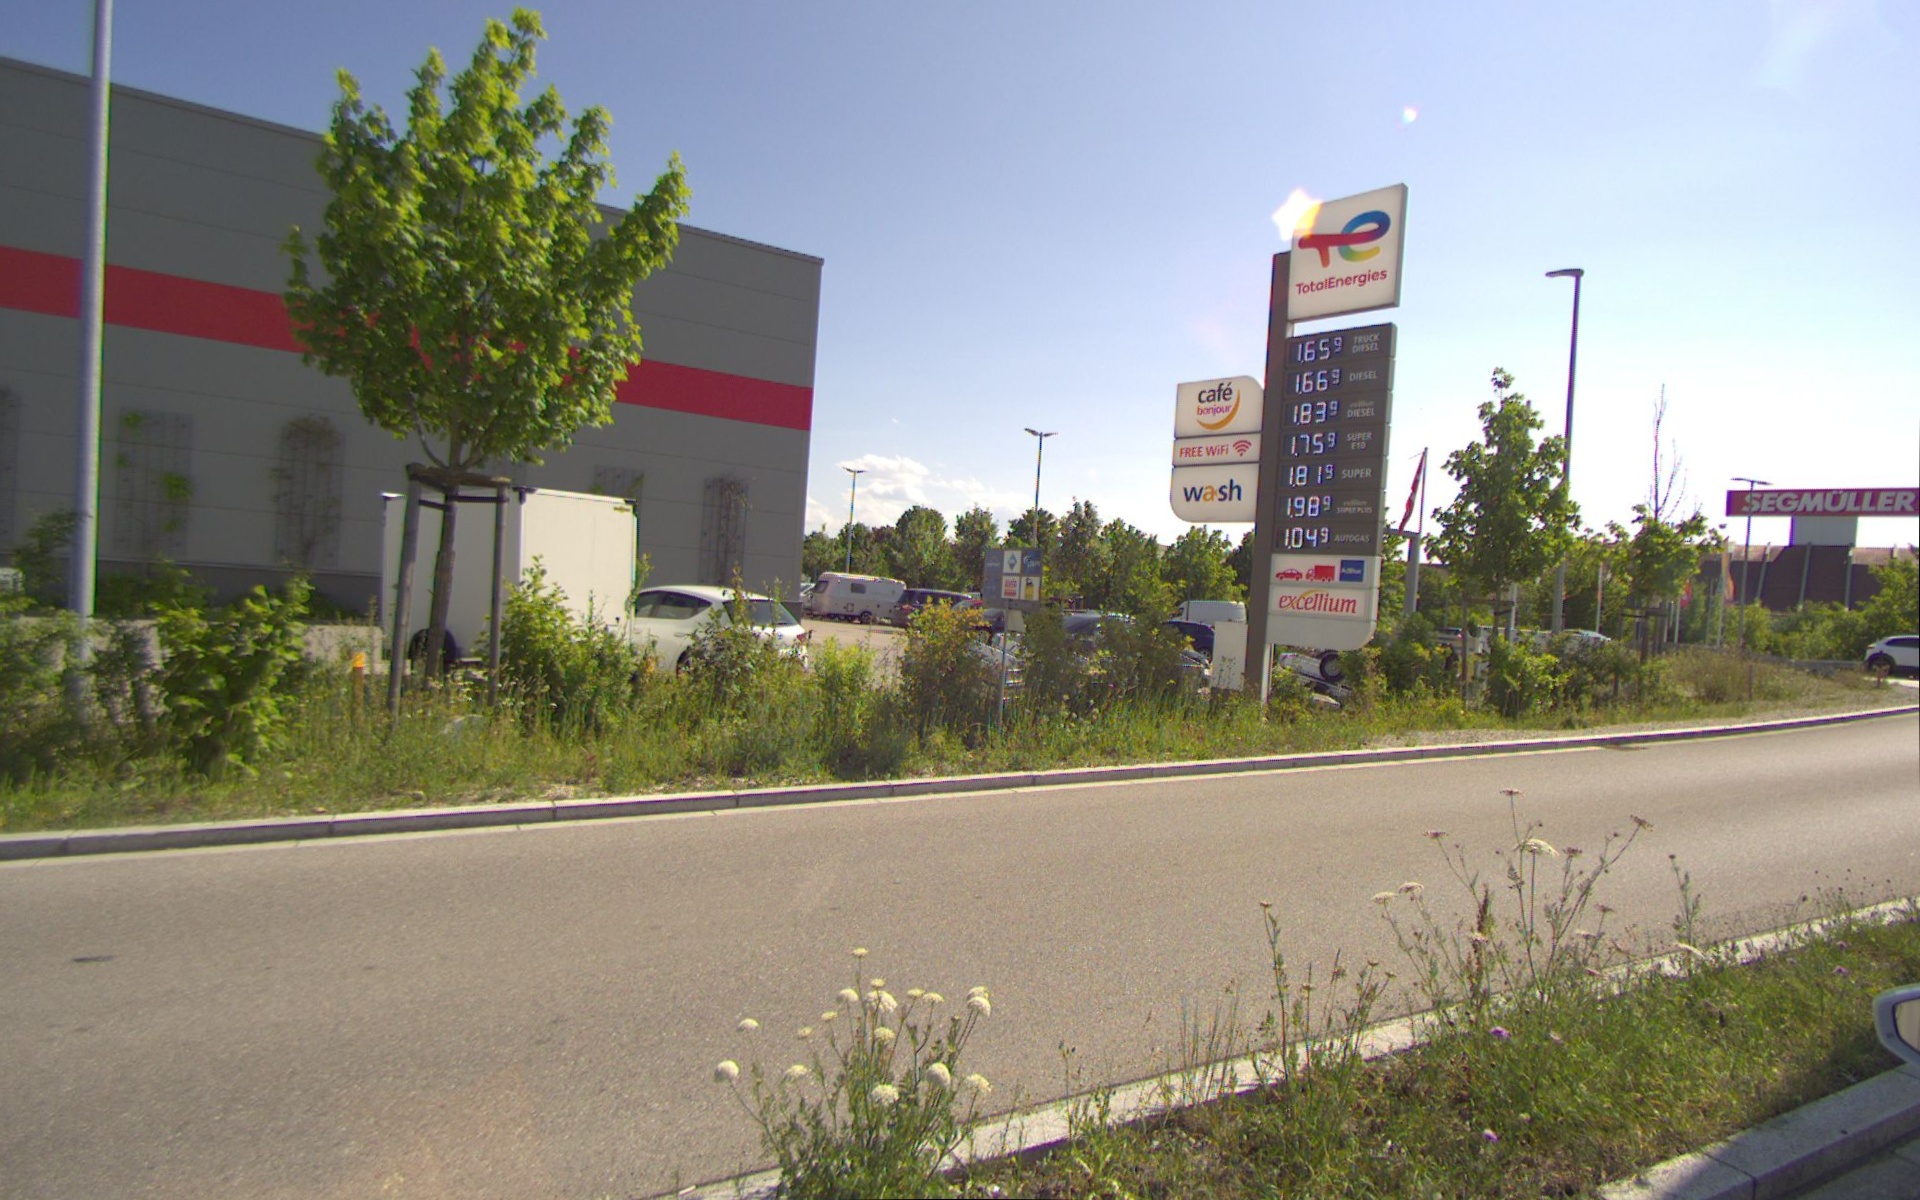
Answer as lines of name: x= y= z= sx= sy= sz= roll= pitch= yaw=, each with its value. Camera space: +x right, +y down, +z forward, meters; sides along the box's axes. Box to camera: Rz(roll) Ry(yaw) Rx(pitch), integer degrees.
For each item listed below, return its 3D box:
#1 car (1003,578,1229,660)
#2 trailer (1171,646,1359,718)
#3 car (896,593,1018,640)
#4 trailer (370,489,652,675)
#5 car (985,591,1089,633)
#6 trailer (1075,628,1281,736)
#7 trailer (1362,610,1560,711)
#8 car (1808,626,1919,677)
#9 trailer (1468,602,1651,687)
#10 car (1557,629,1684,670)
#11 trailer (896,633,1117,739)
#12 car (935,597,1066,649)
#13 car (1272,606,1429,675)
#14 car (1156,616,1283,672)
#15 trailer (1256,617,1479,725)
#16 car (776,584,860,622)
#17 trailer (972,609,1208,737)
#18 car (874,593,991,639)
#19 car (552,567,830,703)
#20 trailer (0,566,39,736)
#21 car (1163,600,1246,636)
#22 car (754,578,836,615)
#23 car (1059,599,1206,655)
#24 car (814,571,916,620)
car: x=3.303 y=0.399 z=21.171 sx=4.437 sy=1.503 sz=1.792 roll=2 pitch=2 yaw=-26
trailer: x=5.427 y=1.404 z=17.865 sx=2.788 sy=0.894 sz=1.862 roll=4 pitch=2 yaw=32
car: x=-0.071 y=0.595 z=35.475 sx=3.962 sy=1.483 sz=1.807 roll=2 pitch=2 yaw=-36
trailer: x=-5.648 y=-0.277 z=12.582 sx=3.185 sy=2.040 sz=1.743 roll=4 pitch=2 yaw=33
car: x=3.344 y=0.496 z=43.555 sx=4.365 sy=1.483 sz=1.826 roll=3 pitch=1 yaw=5
trailer: x=3.379 y=1.218 z=15.872 sx=1.379 sy=1.340 sz=2.876 roll=2 pitch=2 yaw=-41
trailer: x=10.836 y=1.225 z=21.798 sx=3.631 sy=1.795 sz=1.804 roll=4 pitch=2 yaw=30
car: x=32.722 y=1.820 z=35.182 sx=1.765 sy=1.550 sz=4.267 roll=3 pitch=0 yaw=-20
trailer: x=14.400 y=1.014 z=24.318 sx=3.631 sy=1.795 sz=1.804 roll=2 pitch=1 yaw=30
car: x=29.328 y=2.175 z=44.780 sx=1.769 sy=1.424 sz=4.384 roll=2 pitch=1 yaw=-28
trailer: x=0.616 y=1.117 z=13.863 sx=2.729 sy=1.100 sz=1.317 roll=4 pitch=2 yaw=34
car: x=1.352 y=0.777 z=33.520 sx=3.947 sy=1.483 sz=1.813 roll=3 pitch=1 yaw=-26
car: x=10.068 y=1.052 z=25.873 sx=3.698 sy=1.573 sz=1.731 roll=3 pitch=2 yaw=-28
car: x=8.974 y=1.491 z=35.007 sx=3.920 sy=1.483 sz=1.826 roll=5 pitch=2 yaw=5
trailer: x=7.747 y=1.263 z=19.168 sx=3.631 sy=1.471 sz=1.705 roll=7 pitch=3 yaw=30
car: x=-6.945 y=0.149 z=48.985 sx=3.647 sy=1.672 sz=1.732 roll=3 pitch=1 yaw=-27
trailer: x=1.873 y=1.000 z=14.996 sx=3.146 sy=1.503 sz=1.539 roll=4 pitch=2 yaw=44
car: x=-1.041 y=0.586 z=37.571 sx=3.947 sy=1.483 sz=1.813 roll=3 pitch=1 yaw=-26
car: x=-3.931 y=0.412 z=14.439 sx=3.934 sy=1.557 sz=1.713 roll=4 pitch=2 yaw=35
trailer: x=-10.672 y=0.402 z=10.012 sx=3.542 sy=1.530 sz=1.594 roll=4 pitch=2 yaw=37
car: x=18.470 y=1.328 z=76.192 sx=2.021 sy=2.264 sz=6.208 roll=2 pitch=2 yaw=-36
car: x=-8.354 y=-0.169 z=50.998 sx=3.702 sy=1.672 sz=1.729 roll=2 pitch=2 yaw=-32
car: x=5.029 y=0.781 z=29.206 sx=3.954 sy=1.483 sz=1.810 roll=2 pitch=-1 yaw=-31
car: x=-4.461 y=-0.204 z=47.290 sx=4.297 sy=2.040 sz=1.889 roll=2 pitch=2 yaw=-30
